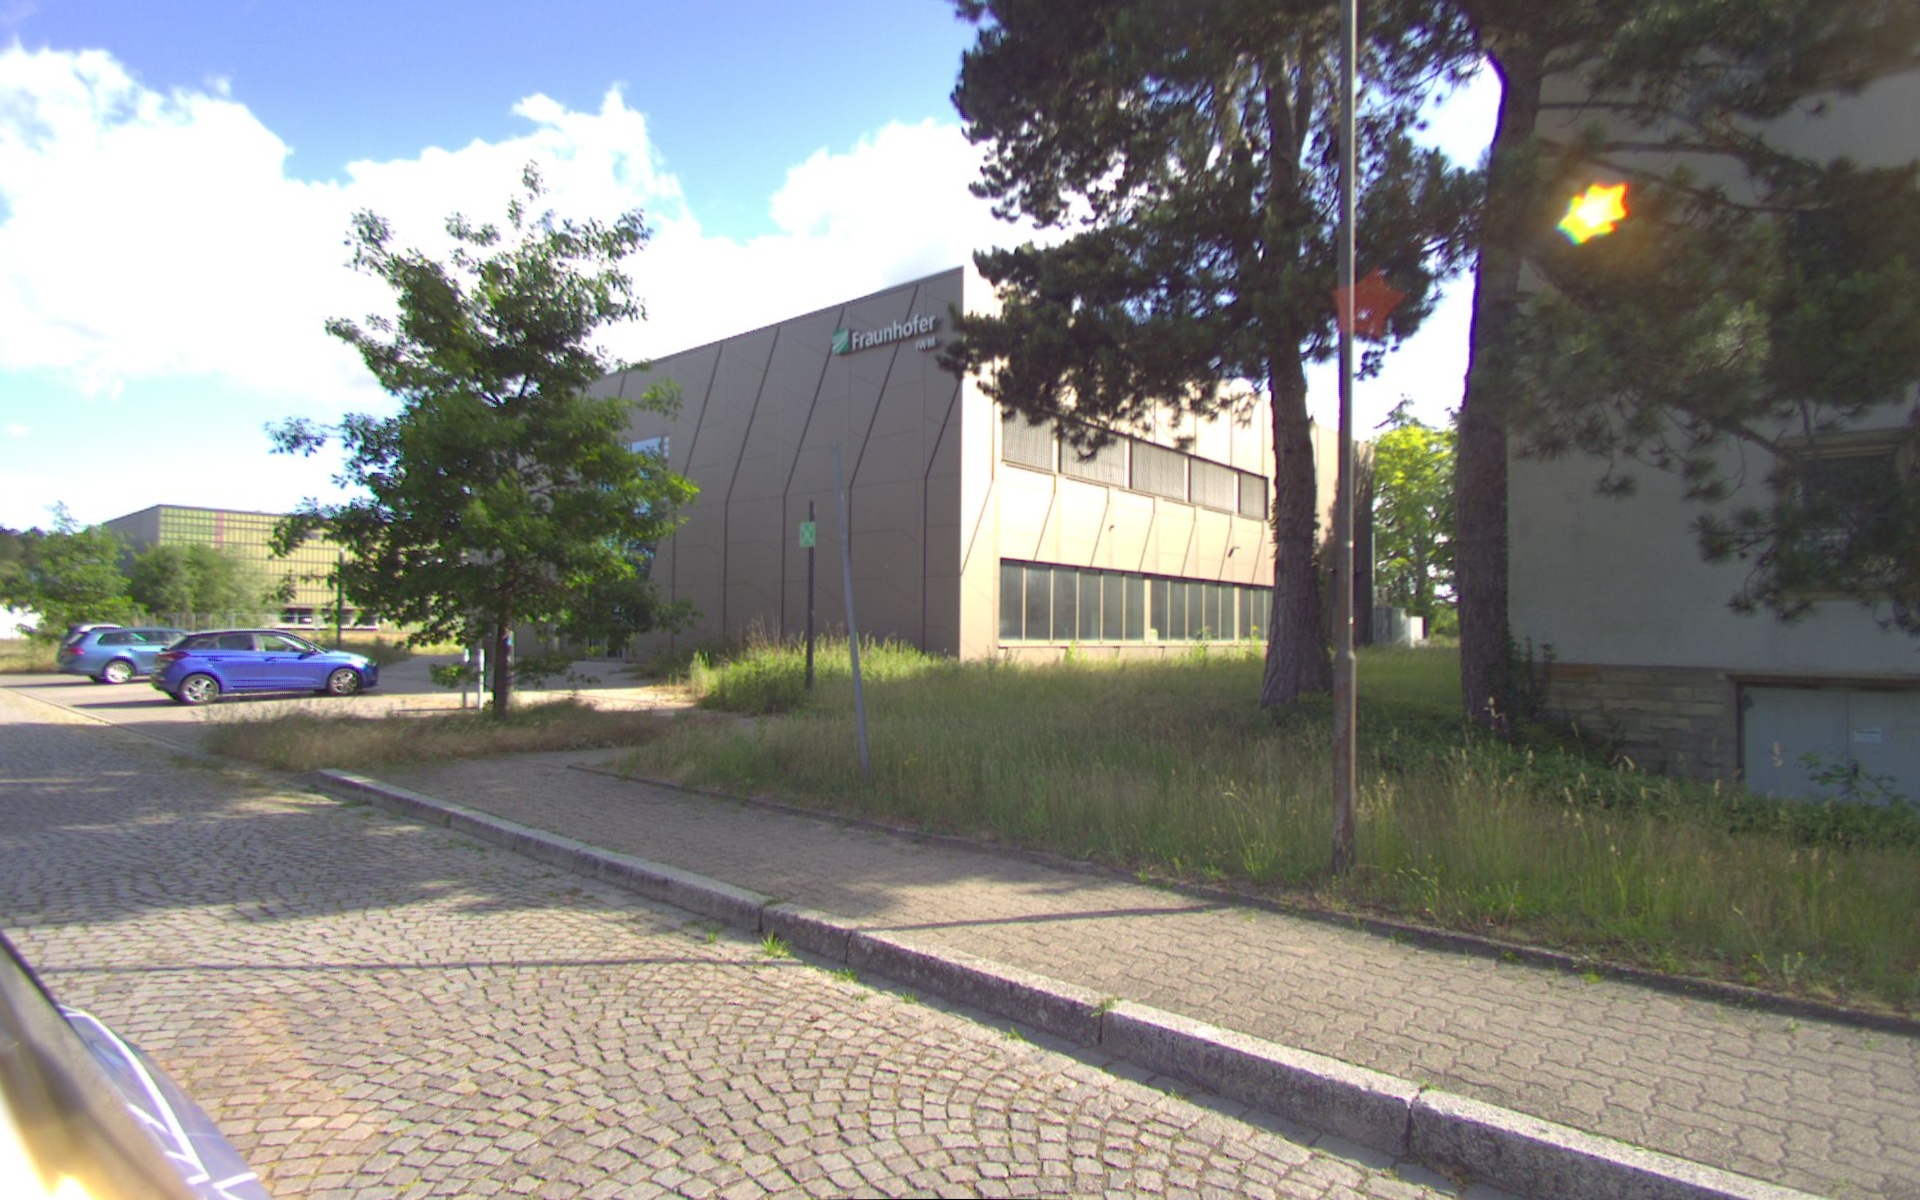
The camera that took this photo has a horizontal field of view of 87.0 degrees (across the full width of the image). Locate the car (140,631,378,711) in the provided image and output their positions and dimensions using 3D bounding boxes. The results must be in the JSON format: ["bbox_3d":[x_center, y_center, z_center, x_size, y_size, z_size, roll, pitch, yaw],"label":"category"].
[{"bbox_3d":[-14.752,1.421,21.431,1.735,1.479,3.866,-2,-2,43],"label":"car"}]

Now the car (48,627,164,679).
[{"bbox_3d":[-27.412,1.668,32.528,1.480,1.580,2.619,-1,-2,39],"label":"car"}]

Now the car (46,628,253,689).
[{"bbox_3d":[-21.956,1.526,27.546,1.732,1.485,4.128,-1,-1,38],"label":"car"}]
